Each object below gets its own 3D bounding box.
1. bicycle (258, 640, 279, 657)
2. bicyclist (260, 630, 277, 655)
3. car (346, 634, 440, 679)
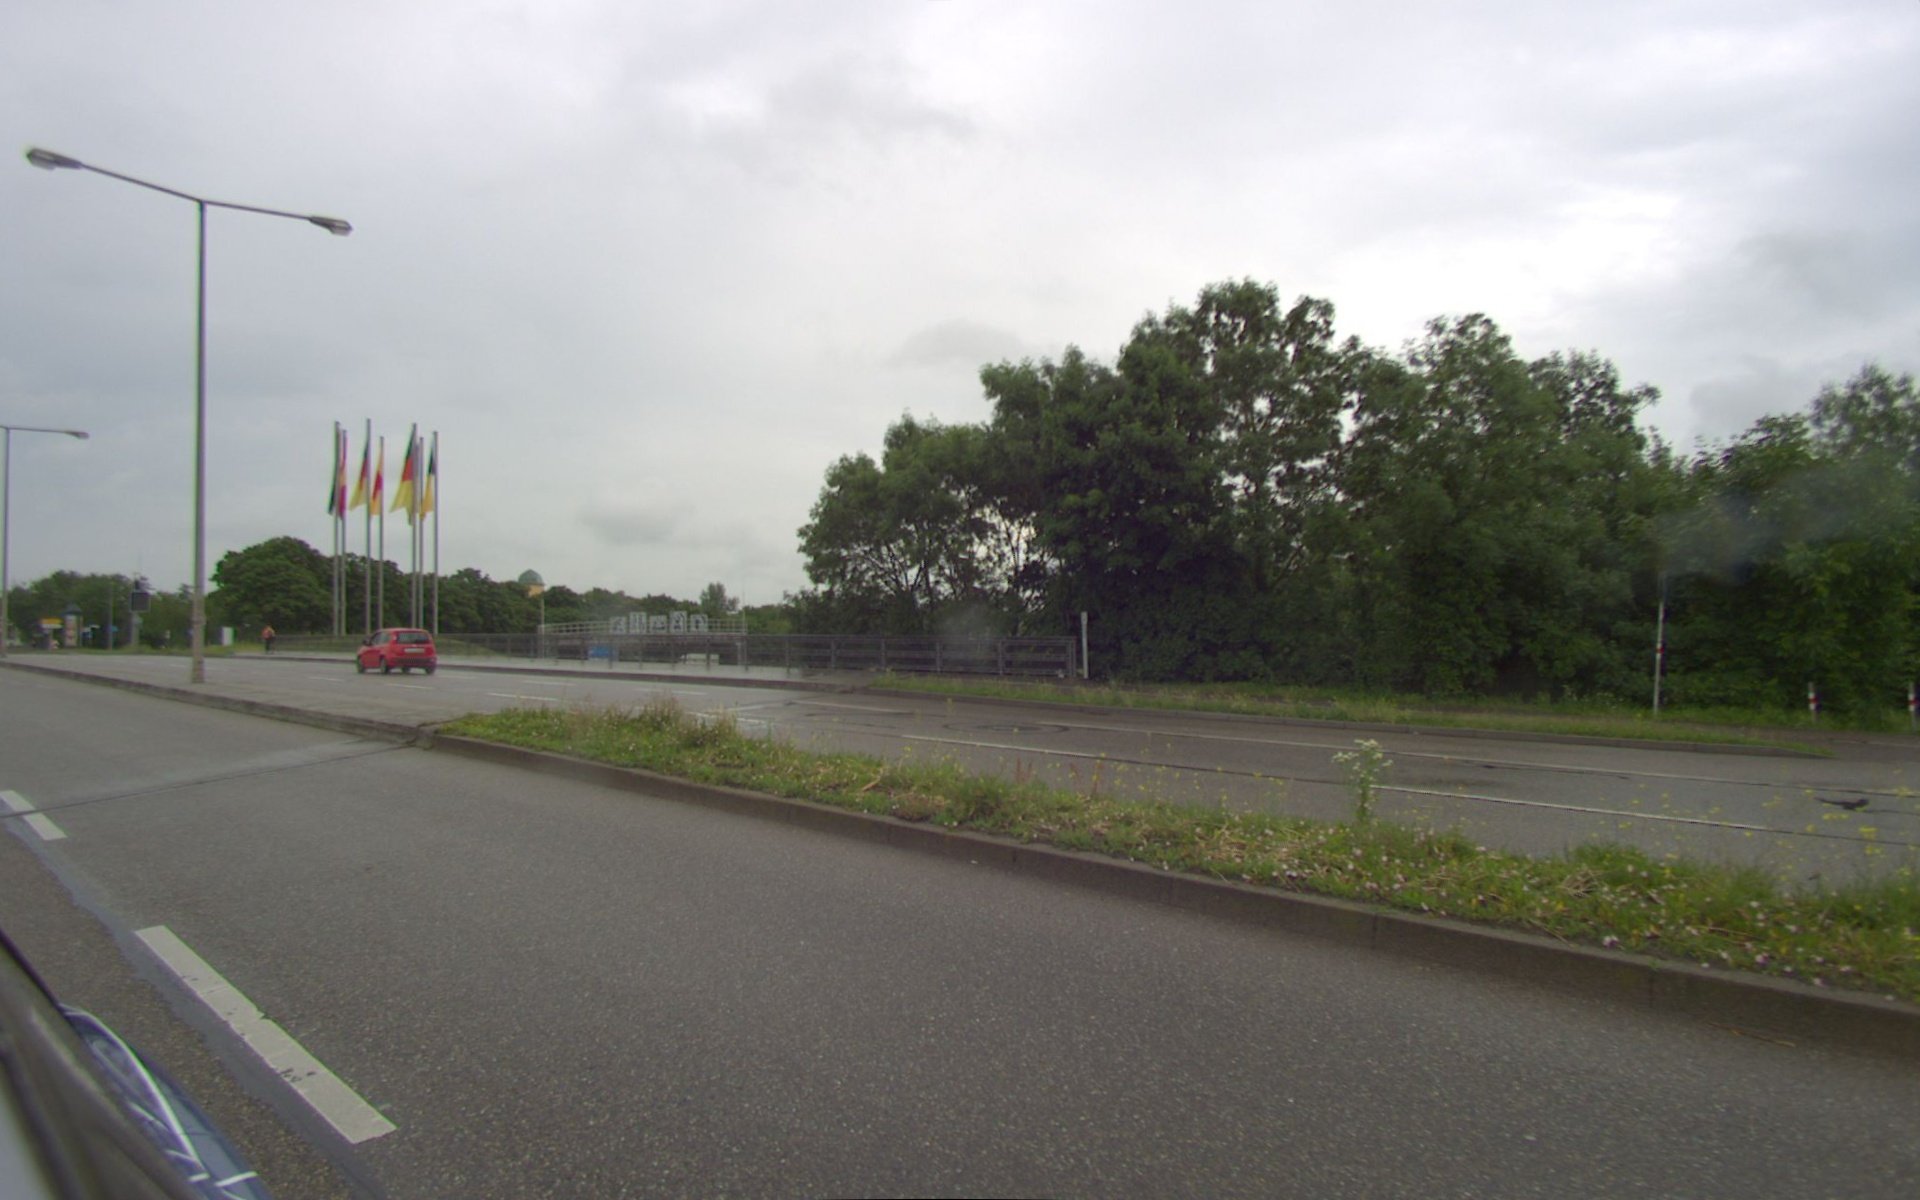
[{"bbox_3d":[-42.951,3.002,62.848,2.000,1.041,0.603,-2,0,41],"label":"bicycle"},{"bbox_3d":[-42.962,2.610,62.853,1.002,1.511,0.613,-2,0,41],"label":"bicyclist"},{"bbox_3d":[-19.354,1.914,34.483,3.555,1.459,1.643,-2,-4,41],"label":"car"}]
